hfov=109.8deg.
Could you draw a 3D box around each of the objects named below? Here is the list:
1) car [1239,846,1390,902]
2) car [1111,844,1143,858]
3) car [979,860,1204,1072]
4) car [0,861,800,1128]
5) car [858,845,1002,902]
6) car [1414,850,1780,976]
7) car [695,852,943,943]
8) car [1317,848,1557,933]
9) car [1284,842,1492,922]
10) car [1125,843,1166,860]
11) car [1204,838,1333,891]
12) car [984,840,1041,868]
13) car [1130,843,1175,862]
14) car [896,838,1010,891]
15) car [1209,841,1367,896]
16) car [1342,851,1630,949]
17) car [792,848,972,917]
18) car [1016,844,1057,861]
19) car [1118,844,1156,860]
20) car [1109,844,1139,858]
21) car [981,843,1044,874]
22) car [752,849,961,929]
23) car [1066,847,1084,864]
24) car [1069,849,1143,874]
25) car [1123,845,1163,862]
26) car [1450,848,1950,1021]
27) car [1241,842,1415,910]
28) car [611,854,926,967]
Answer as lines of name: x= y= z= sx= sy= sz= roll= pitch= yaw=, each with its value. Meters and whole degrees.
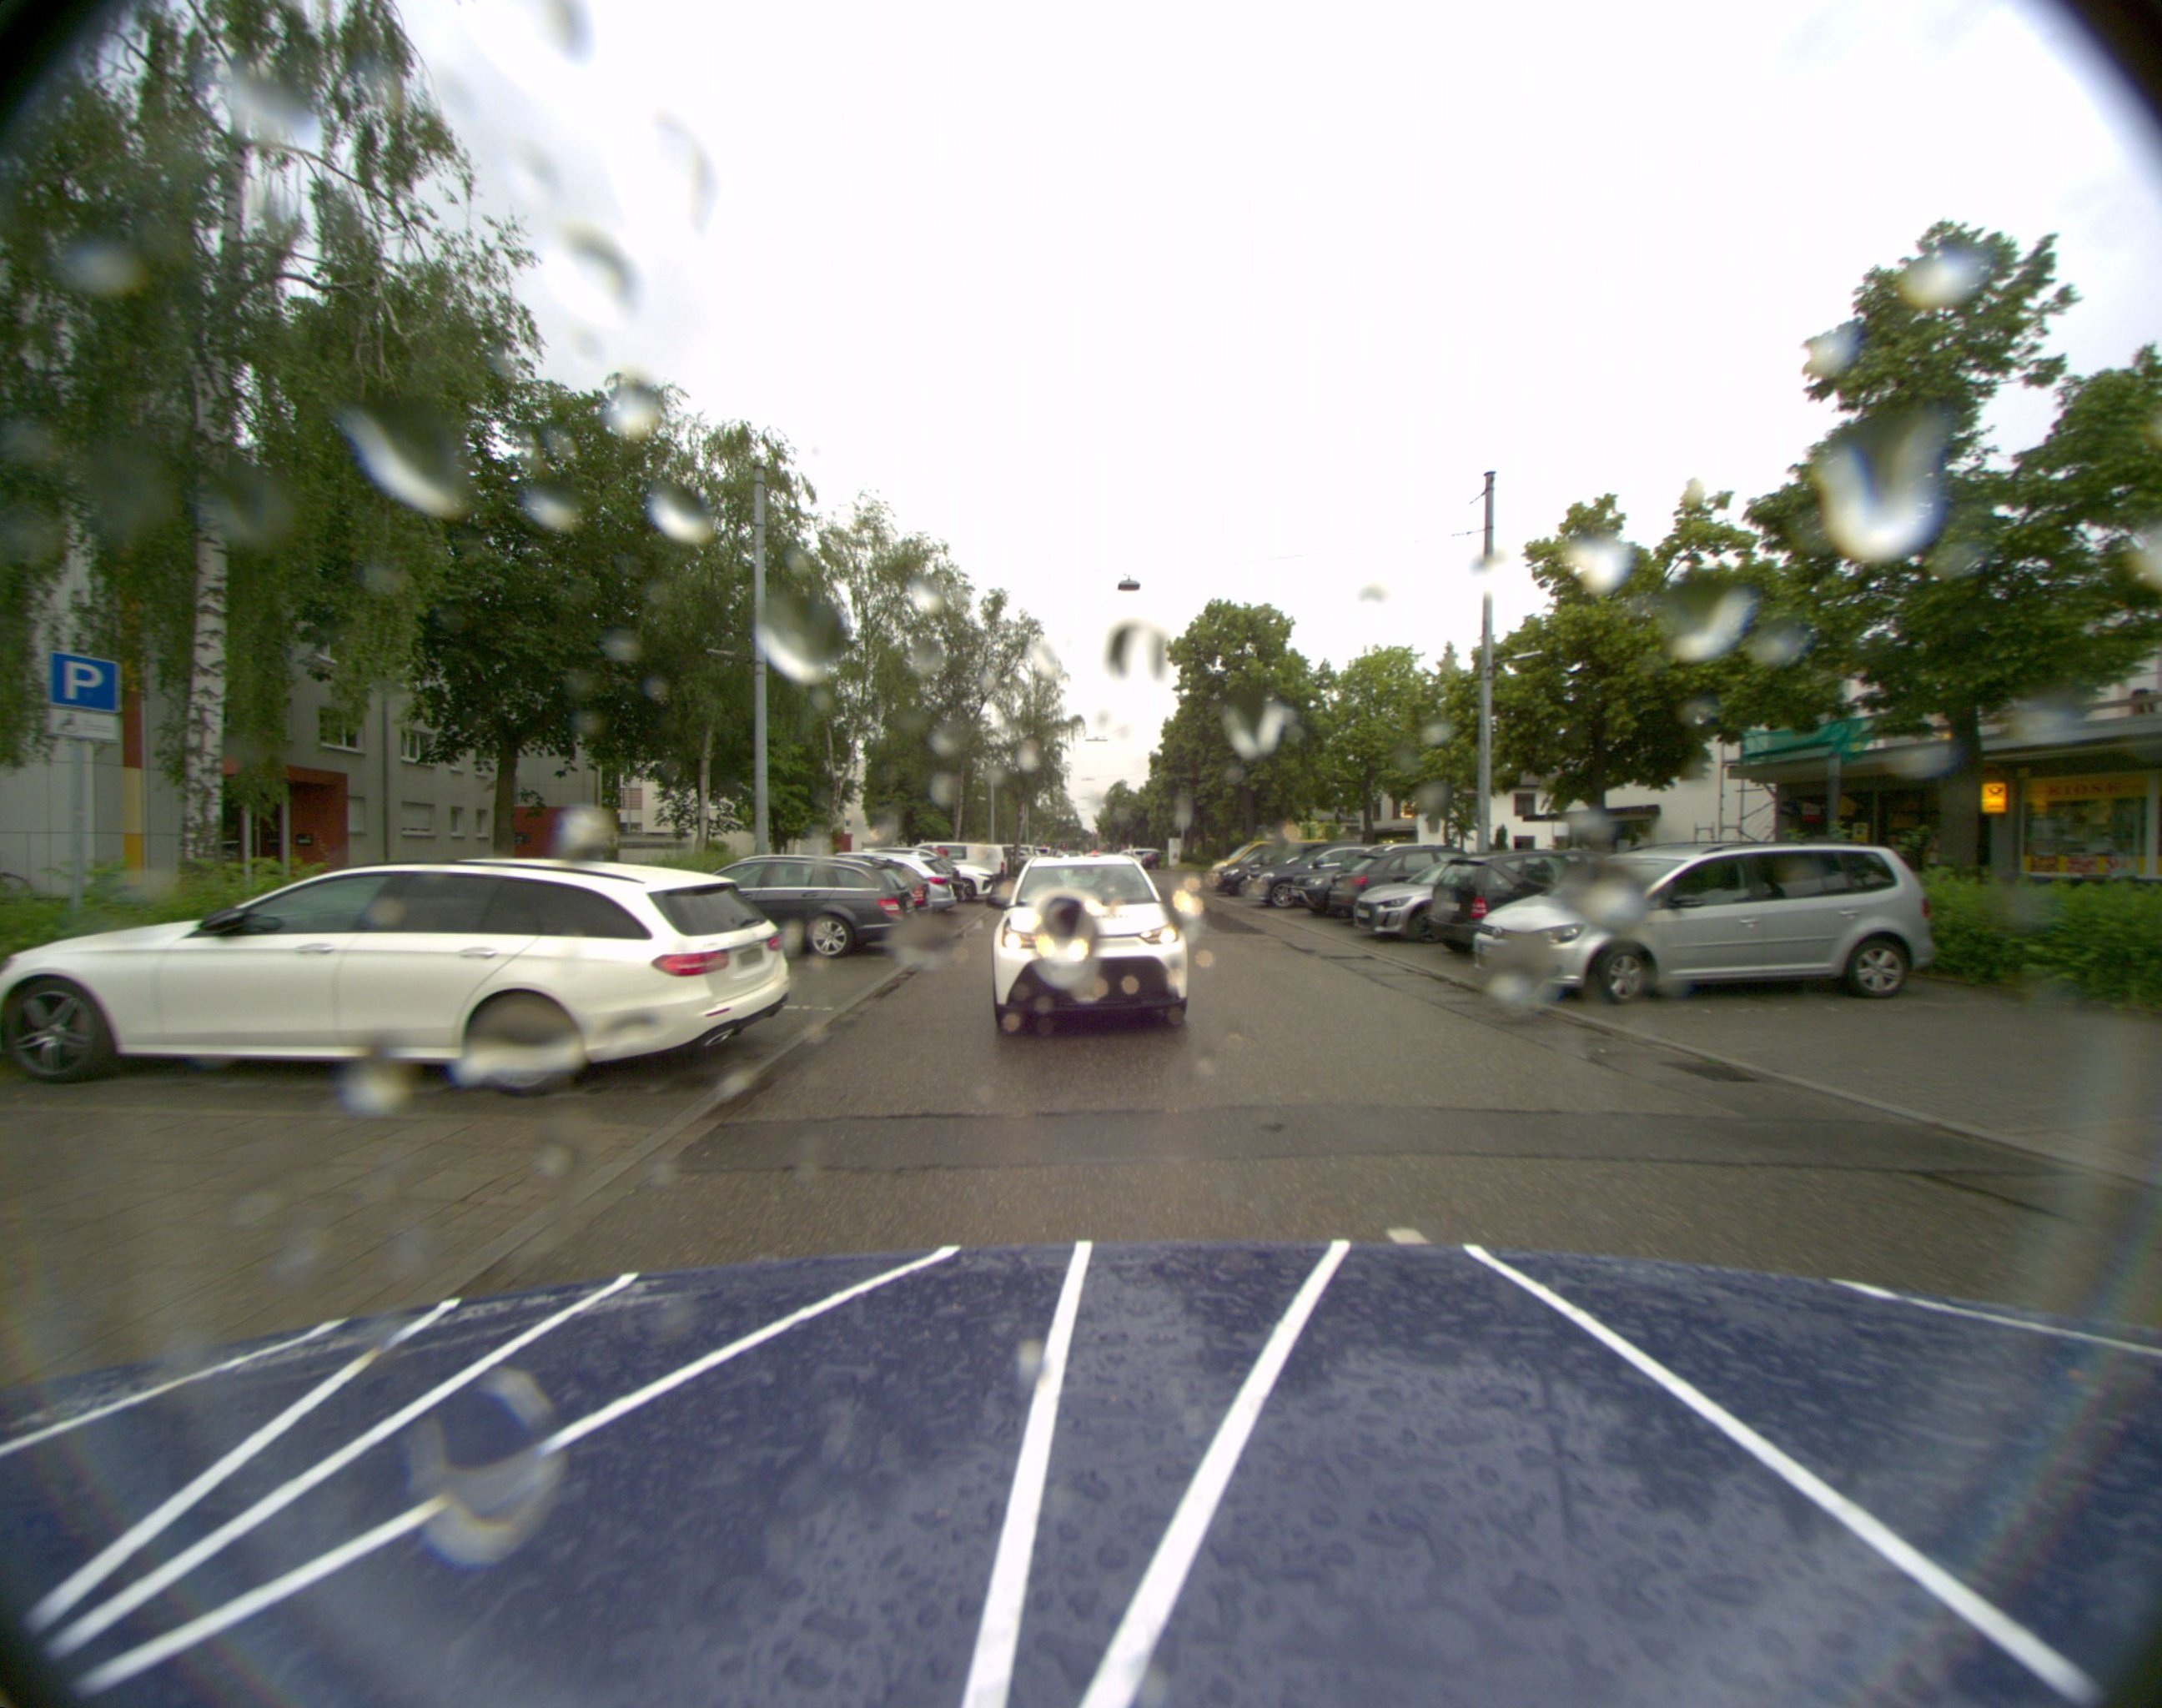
car: x=7.422 y=0.621 z=24.377 sx=4.283 sy=1.618 sz=1.715 roll=-1 pitch=1 yaw=-2
car: x=5.906 y=-0.401 z=97.778 sx=3.998 sy=1.675 sz=1.999 roll=-2 pitch=1 yaw=-2
car: x=0.014 y=0.900 z=8.090 sx=1.733 sy=1.519 sz=4.138 roll=-2 pitch=1 yaw=-2
car: x=-4.682 y=0.874 z=5.509 sx=4.623 sy=1.431 sz=1.680 roll=2 pitch=1 yaw=0
car: x=-4.770 y=0.588 z=24.349 sx=4.179 sy=1.609 sz=1.680 roll=2 pitch=1 yaw=1
car: x=7.371 y=0.797 z=11.118 sx=4.283 sy=1.557 sz=1.635 roll=-2 pitch=1 yaw=-2
car: x=-4.770 y=0.769 z=14.250 sx=4.049 sy=1.431 sz=1.680 roll=2 pitch=1 yaw=-2
car: x=7.397 y=0.716 z=16.040 sx=4.283 sy=1.586 sz=1.715 roll=-1 pitch=1 yaw=-2
car: x=7.248 y=0.625 z=18.186 sx=4.283 sy=1.717 sz=1.715 roll=-1 pitch=1 yaw=-2
car: x=6.701 y=-0.272 z=79.593 sx=3.998 sy=1.675 sz=1.999 roll=-2 pitch=1 yaw=-2
car: x=7.405 y=0.394 z=30.263 sx=4.656 sy=1.947 sz=1.715 roll=-1 pitch=1 yaw=-2
car: x=-5.158 y=-0.018 z=57.594 sx=3.995 sy=1.903 sz=1.902 roll=-2 pitch=1 yaw=5
car: x=6.785 y=-0.144 z=72.081 sx=3.998 sy=1.675 sz=1.999 roll=-2 pitch=1 yaw=-2
car: x=-4.903 y=0.397 z=29.599 sx=4.182 sy=1.856 sz=1.679 roll=2 pitch=1 yaw=-5
car: x=7.324 y=0.491 z=27.156 sx=5.177 sy=1.789 sz=1.715 roll=-1 pitch=1 yaw=-2
car: x=7.136 y=0.774 z=13.651 sx=4.283 sy=1.523 sz=1.715 roll=-1 pitch=1 yaw=-2
car: x=-4.876 y=0.689 z=19.012 sx=4.049 sy=1.488 sz=1.680 roll=2 pitch=1 yaw=-2
car: x=-4.578 y=-0.169 z=78.405 sx=3.995 sy=1.670 sz=1.902 roll=-2 pitch=1 yaw=5
car: x=6.401 y=-0.232 z=87.113 sx=3.998 sy=1.675 sz=1.999 roll=-2 pitch=1 yaw=-2
car: x=5.943 y=-0.439 z=104.976 sx=3.998 sy=1.675 sz=1.999 roll=-2 pitch=1 yaw=-2
car: x=-4.730 y=0.300 z=52.742 sx=3.995 sy=1.903 sz=1.902 roll=-2 pitch=1 yaw=5
car: x=-4.777 y=0.728 z=16.618 sx=4.049 sy=1.488 sz=1.680 roll=2 pitch=1 yaw=-2
car: x=-0.695 y=0.149 z=90.977 sx=1.998 sy=1.804 sz=3.999 roll=-2 pitch=1 yaw=1
car: x=1.574 y=0.481 z=48.326 sx=4.245 sy=1.446 sz=2.004 roll=-1 pitch=1 yaw=37
car: x=6.652 y=-0.079 z=82.060 sx=3.998 sy=1.675 sz=1.999 roll=-2 pitch=1 yaw=-2
car: x=6.705 y=0.803 z=8.544 sx=4.283 sy=1.625 sz=1.715 roll=-1 pitch=1 yaw=-2
car: x=6.822 y=0.570 z=21.278 sx=4.283 sy=1.717 sz=1.715 roll=-1 pitch=1 yaw=-2
car: x=-4.555 y=0.801 z=11.527 sx=4.049 sy=1.431 sz=1.680 roll=2 pitch=1 yaw=-2
